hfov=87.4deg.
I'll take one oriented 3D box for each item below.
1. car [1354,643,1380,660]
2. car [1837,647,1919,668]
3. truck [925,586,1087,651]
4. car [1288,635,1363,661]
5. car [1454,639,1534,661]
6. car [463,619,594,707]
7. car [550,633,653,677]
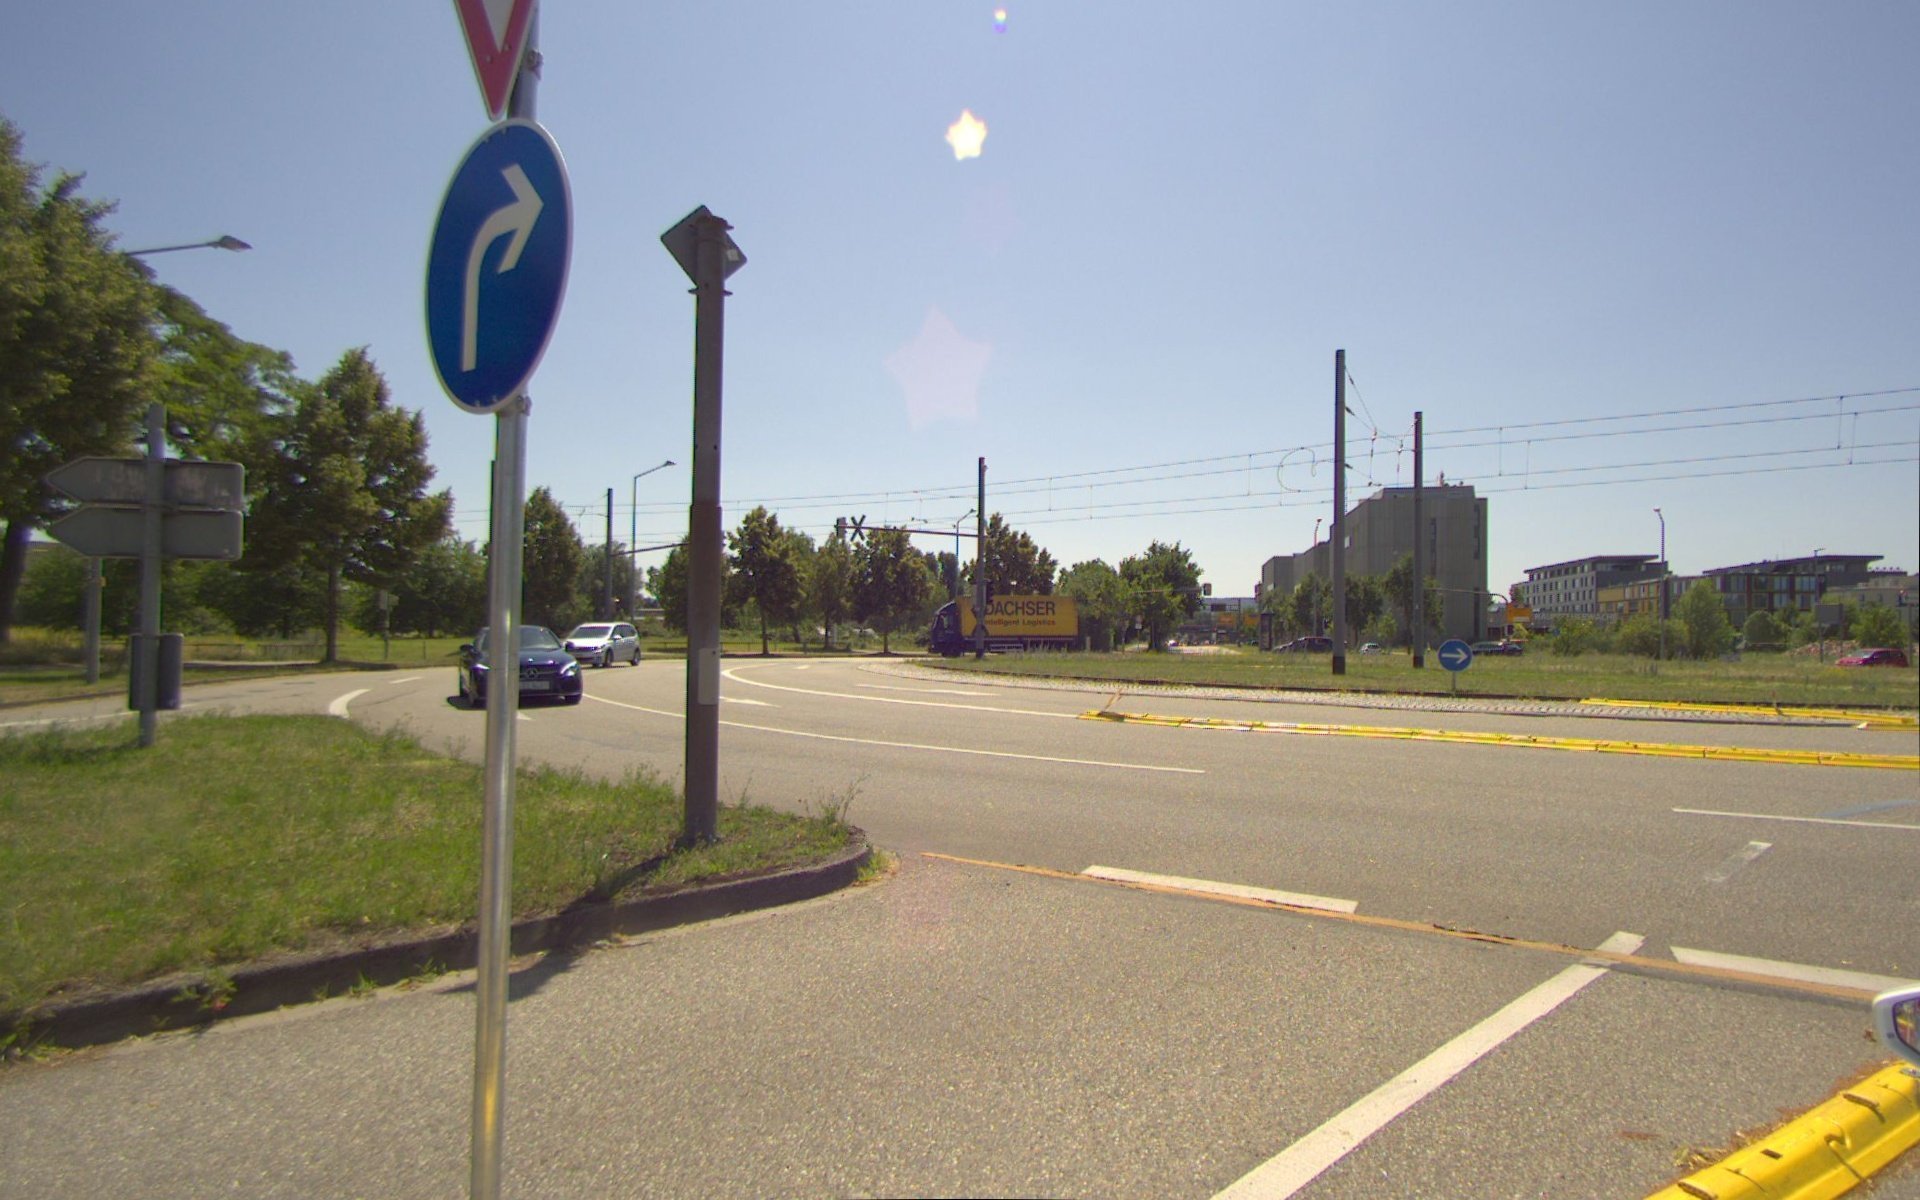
[{"bbox_3d":[41.761,5.290,103.112,1.960,1.639,4.003,2,-1,14],"label":"car"},{"bbox_3d":[51.698,3.220,56.596,3.453,1.104,1.497,1,-1,-5],"label":"car"},{"bbox_3d":[2.755,1.141,60.836,9.442,3.707,2.703,1,-2,-10],"label":"truck"},{"bbox_3d":[22.213,2.890,61.121,3.967,1.480,1.731,1,-2,3],"label":"car"},{"bbox_3d":[34.972,3.277,65.791,4.411,1.336,1.993,-1,-2,37],"label":"car"},{"bbox_3d":[-8.141,1.131,19.360,1.828,1.455,4.936,1,-2,-18],"label":"car"},{"bbox_3d":[-13.151,1.979,37.206,1.790,1.473,5.025,1,-2,3],"label":"car"}]
